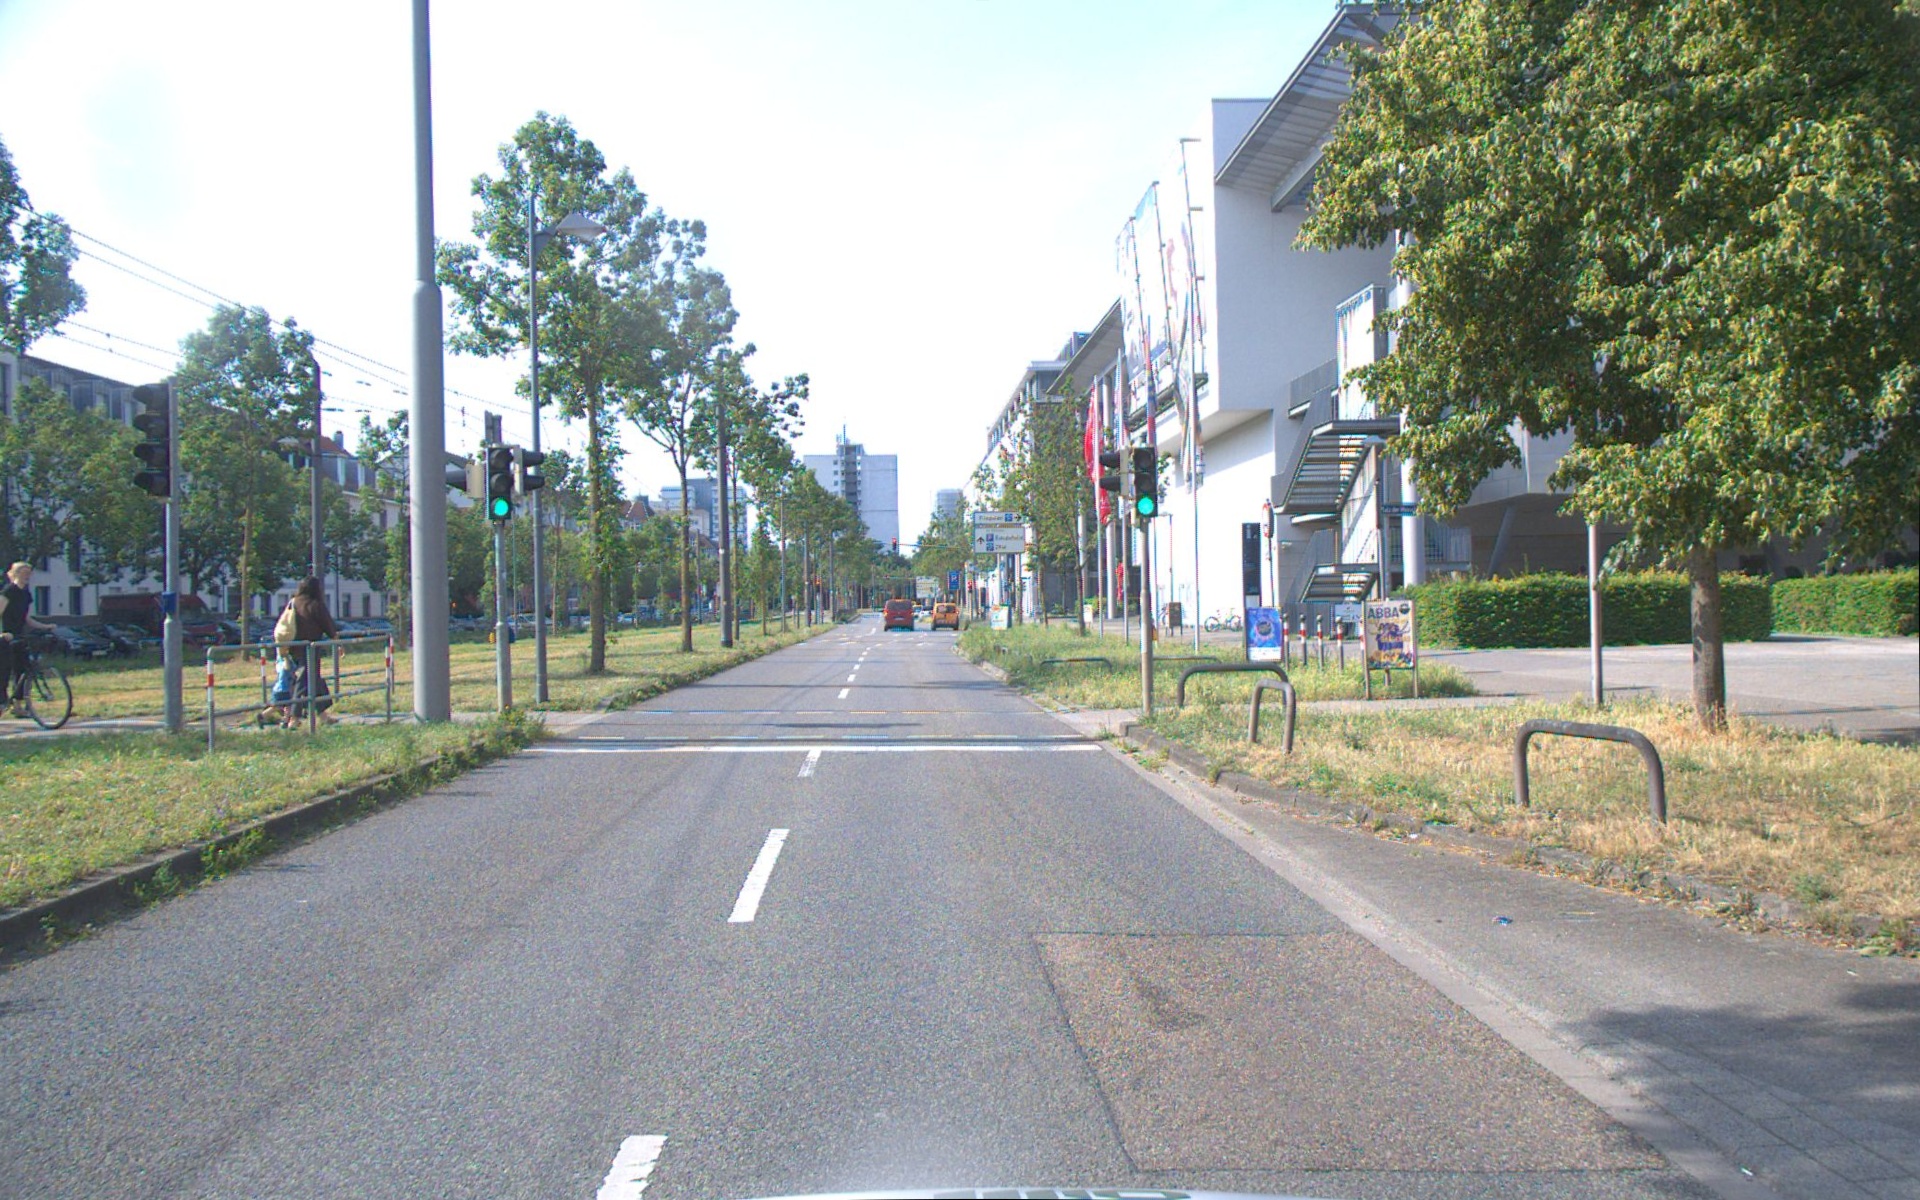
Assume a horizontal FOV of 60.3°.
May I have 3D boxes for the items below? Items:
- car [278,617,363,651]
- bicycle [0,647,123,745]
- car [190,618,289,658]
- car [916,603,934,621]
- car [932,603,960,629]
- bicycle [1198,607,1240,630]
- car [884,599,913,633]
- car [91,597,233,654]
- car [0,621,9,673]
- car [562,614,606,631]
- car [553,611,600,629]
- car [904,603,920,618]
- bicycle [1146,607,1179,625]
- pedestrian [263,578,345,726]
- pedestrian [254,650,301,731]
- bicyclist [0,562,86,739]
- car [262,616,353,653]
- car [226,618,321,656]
[{"bbox_3d":[-30.679,1.603,79.310,3.906,1.557,1.463,1,0,23],"label":"car"},{"bbox_3d":[-10.666,1.070,18.742,2.023,1.060,0.668,0,0,1],"label":"bicycle"},{"bbox_3d":[-29.775,1.571,68.375,3.906,1.557,1.463,1,0,23],"label":"car"},{"bbox_3d":[-3.388,1.126,160.386,1.713,1.679,3.214,1,0,-2],"label":"car"},{"bbox_3d":[-0.883,1.020,106.156,1.713,1.679,3.214,1,0,-2],"label":"car"},{"bbox_3d":[10.568,0.749,67.493,1.589,0.903,0.550,1,0,-4],"label":"bicycle"},{"bbox_3d":[-3.761,0.993,101.421,1.713,2.049,3.214,1,0,-2],"label":"car"},{"bbox_3d":[-29.850,0.935,61.863,5.112,2.049,1.876,1,0,23],"label":"car"},{"bbox_3d":[-28.343,1.271,45.555,3.906,1.437,1.718,1,0,23],"label":"car"},{"bbox_3d":[-36.137,2.159,159.111,3.906,1.624,1.655,1,0,23],"label":"car"},{"bbox_3d":[-34.946,1.824,150.795,3.906,1.624,1.655,1,0,23],"label":"car"},{"bbox_3d":[-5.397,1.202,186.129,1.713,1.679,3.214,1,0,-2],"label":"car"},{"bbox_3d":[10.074,0.801,82.271,1.589,0.903,0.550,1,0,-4],"label":"bicycle"},{"bbox_3d":[-7.257,0.561,18.314,0.612,1.599,0.710,1,-1,-2],"label":"pedestrian"},{"bbox_3d":[-7.652,1.008,18.551,0.334,0.890,0.461,1,0,-2],"label":"pedestrian"},{"bbox_3d":[-10.688,0.561,18.776,1.123,1.968,0.686,1,-1,2],"label":"bicyclist"},{"bbox_3d":[-29.299,1.544,74.282,3.906,1.557,1.463,1,0,23],"label":"car"},{"bbox_3d":[-29.615,1.585,71.306,3.906,1.557,1.463,1,0,23],"label":"car"}]
